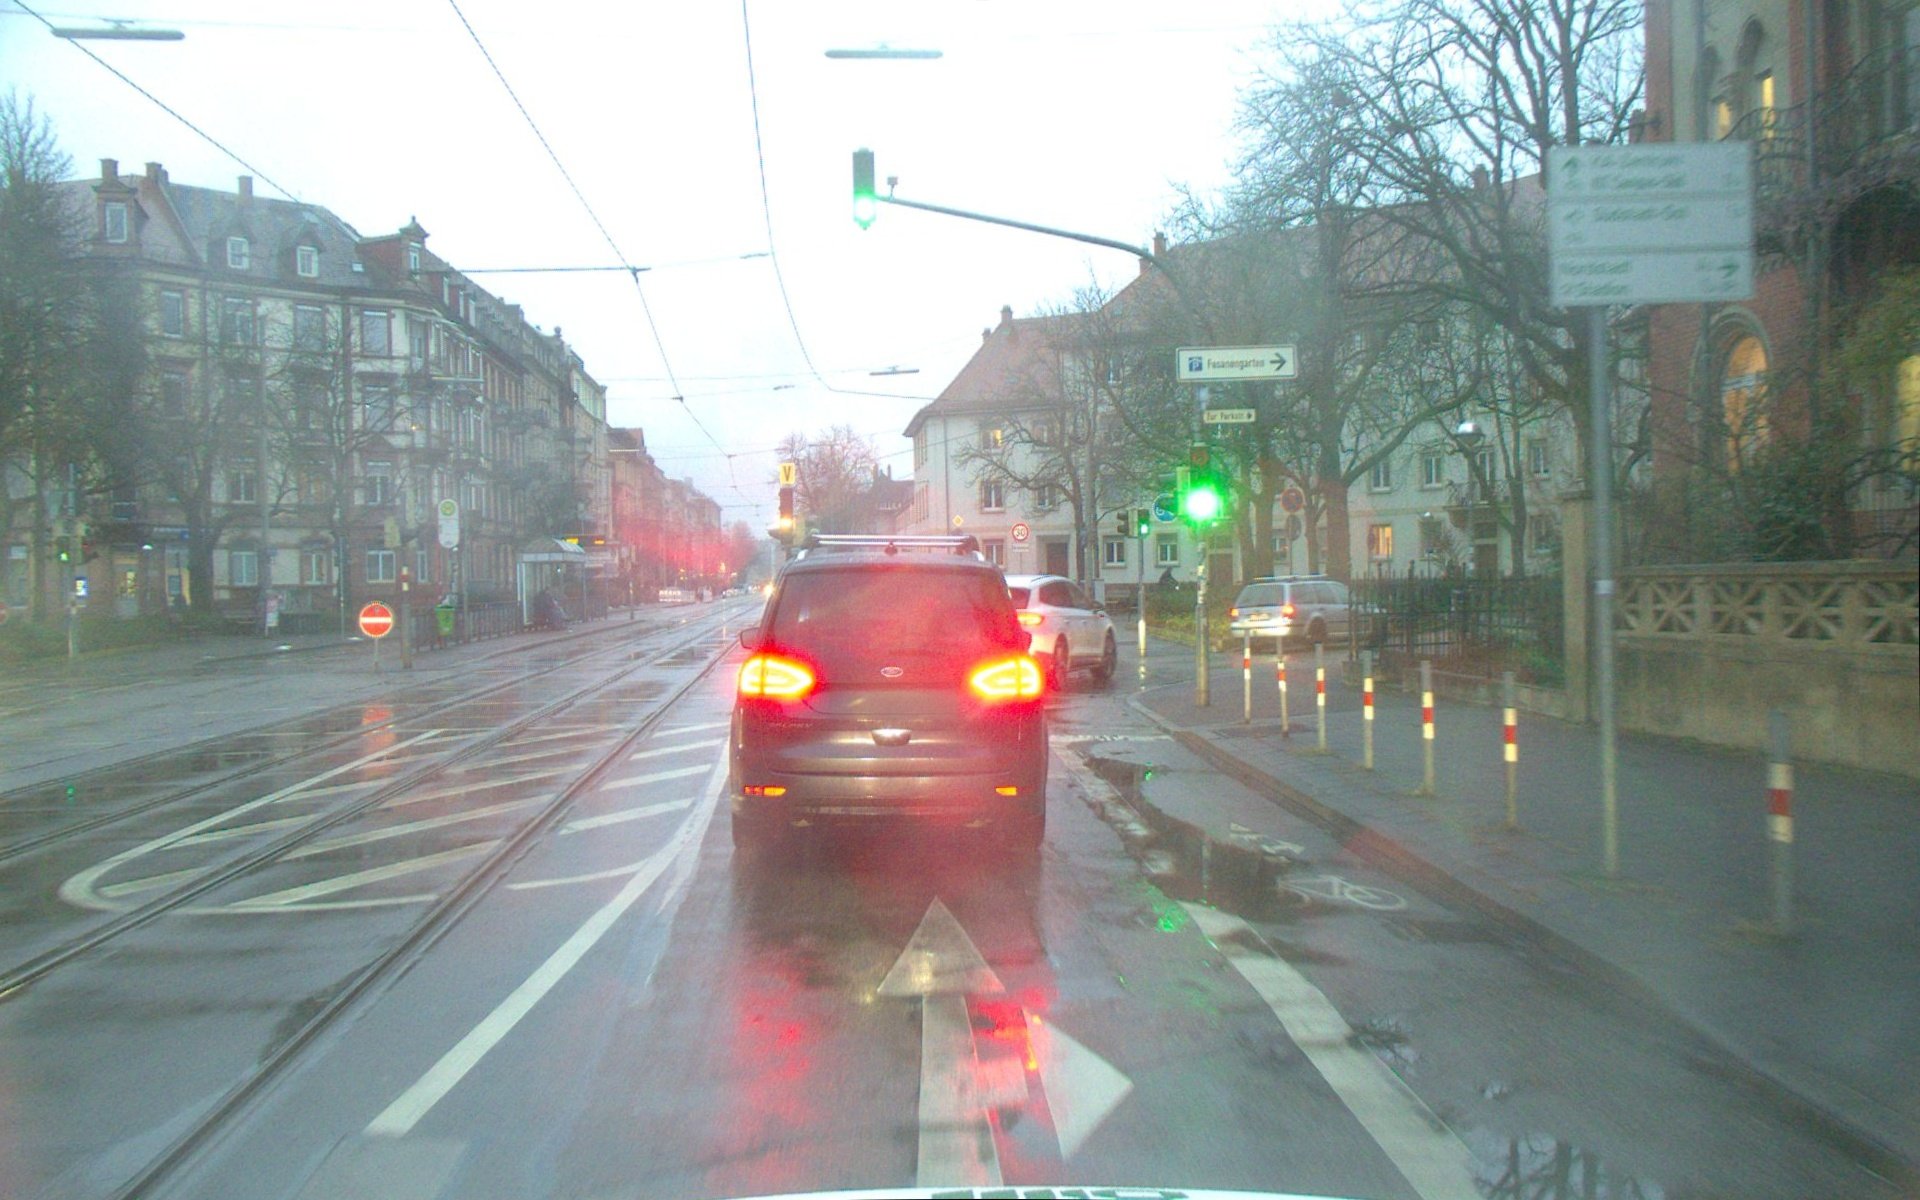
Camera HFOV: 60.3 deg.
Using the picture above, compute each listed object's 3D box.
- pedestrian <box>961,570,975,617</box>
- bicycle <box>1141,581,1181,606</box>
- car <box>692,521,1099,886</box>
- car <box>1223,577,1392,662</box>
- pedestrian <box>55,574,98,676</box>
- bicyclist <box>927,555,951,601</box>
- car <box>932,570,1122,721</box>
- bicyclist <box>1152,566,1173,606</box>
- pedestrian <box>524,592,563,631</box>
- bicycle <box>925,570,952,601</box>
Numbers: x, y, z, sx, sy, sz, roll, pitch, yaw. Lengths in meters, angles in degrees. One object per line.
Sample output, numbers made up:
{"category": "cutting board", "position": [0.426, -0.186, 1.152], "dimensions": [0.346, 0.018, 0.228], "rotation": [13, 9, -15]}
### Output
{"category": "pedestrian", "position": [0.330, -0.288, 72.358], "dimensions": [0.584, 2.049, 0.631], "rotation": [-1, 0, -1]}
{"category": "bicycle", "position": [9.895, -0.309, 81.357], "dimensions": [1.814, 1.204, 0.713], "rotation": [-1, 0, 27]}
{"category": "car", "position": [-0.442, 0.508, 10.760], "dimensions": [2.062, 1.848, 4.658], "rotation": [0, 1, -3]}
{"category": "car", "position": [7.331, 0.374, 34.715], "dimensions": [1.684, 1.691, 3.974], "rotation": [-1, 0, 43]}
{"category": "pedestrian", "position": [-18.148, 0.504, 33.972], "dimensions": [0.695, 2.049, 0.655], "rotation": [-1, 0, -25]}
{"category": "bicyclist", "position": [-0.802, -0.827, 62.425], "dimensions": [0.704, 1.691, 1.054], "rotation": [2, 0, -9]}
{"category": "car", "position": [1.103, 0.620, 24.757], "dimensions": [1.673, 2.049, 4.301], "rotation": [-1, 0, 19]}
{"category": "bicyclist", "position": [9.965, -0.681, 81.313], "dimensions": [0.791, 1.952, 0.707], "rotation": [-1, 0, 27]}
{"category": "pedestrian", "position": [-13.112, 0.355, 52.049], "dimensions": [1.027, 1.221, 0.884], "rotation": [-1, 0, -4]}
{"category": "bicycle", "position": [-0.828, -0.540, 62.505], "dimensions": [0.704, 1.131, 1.937], "rotation": [3, 0, -9]}
